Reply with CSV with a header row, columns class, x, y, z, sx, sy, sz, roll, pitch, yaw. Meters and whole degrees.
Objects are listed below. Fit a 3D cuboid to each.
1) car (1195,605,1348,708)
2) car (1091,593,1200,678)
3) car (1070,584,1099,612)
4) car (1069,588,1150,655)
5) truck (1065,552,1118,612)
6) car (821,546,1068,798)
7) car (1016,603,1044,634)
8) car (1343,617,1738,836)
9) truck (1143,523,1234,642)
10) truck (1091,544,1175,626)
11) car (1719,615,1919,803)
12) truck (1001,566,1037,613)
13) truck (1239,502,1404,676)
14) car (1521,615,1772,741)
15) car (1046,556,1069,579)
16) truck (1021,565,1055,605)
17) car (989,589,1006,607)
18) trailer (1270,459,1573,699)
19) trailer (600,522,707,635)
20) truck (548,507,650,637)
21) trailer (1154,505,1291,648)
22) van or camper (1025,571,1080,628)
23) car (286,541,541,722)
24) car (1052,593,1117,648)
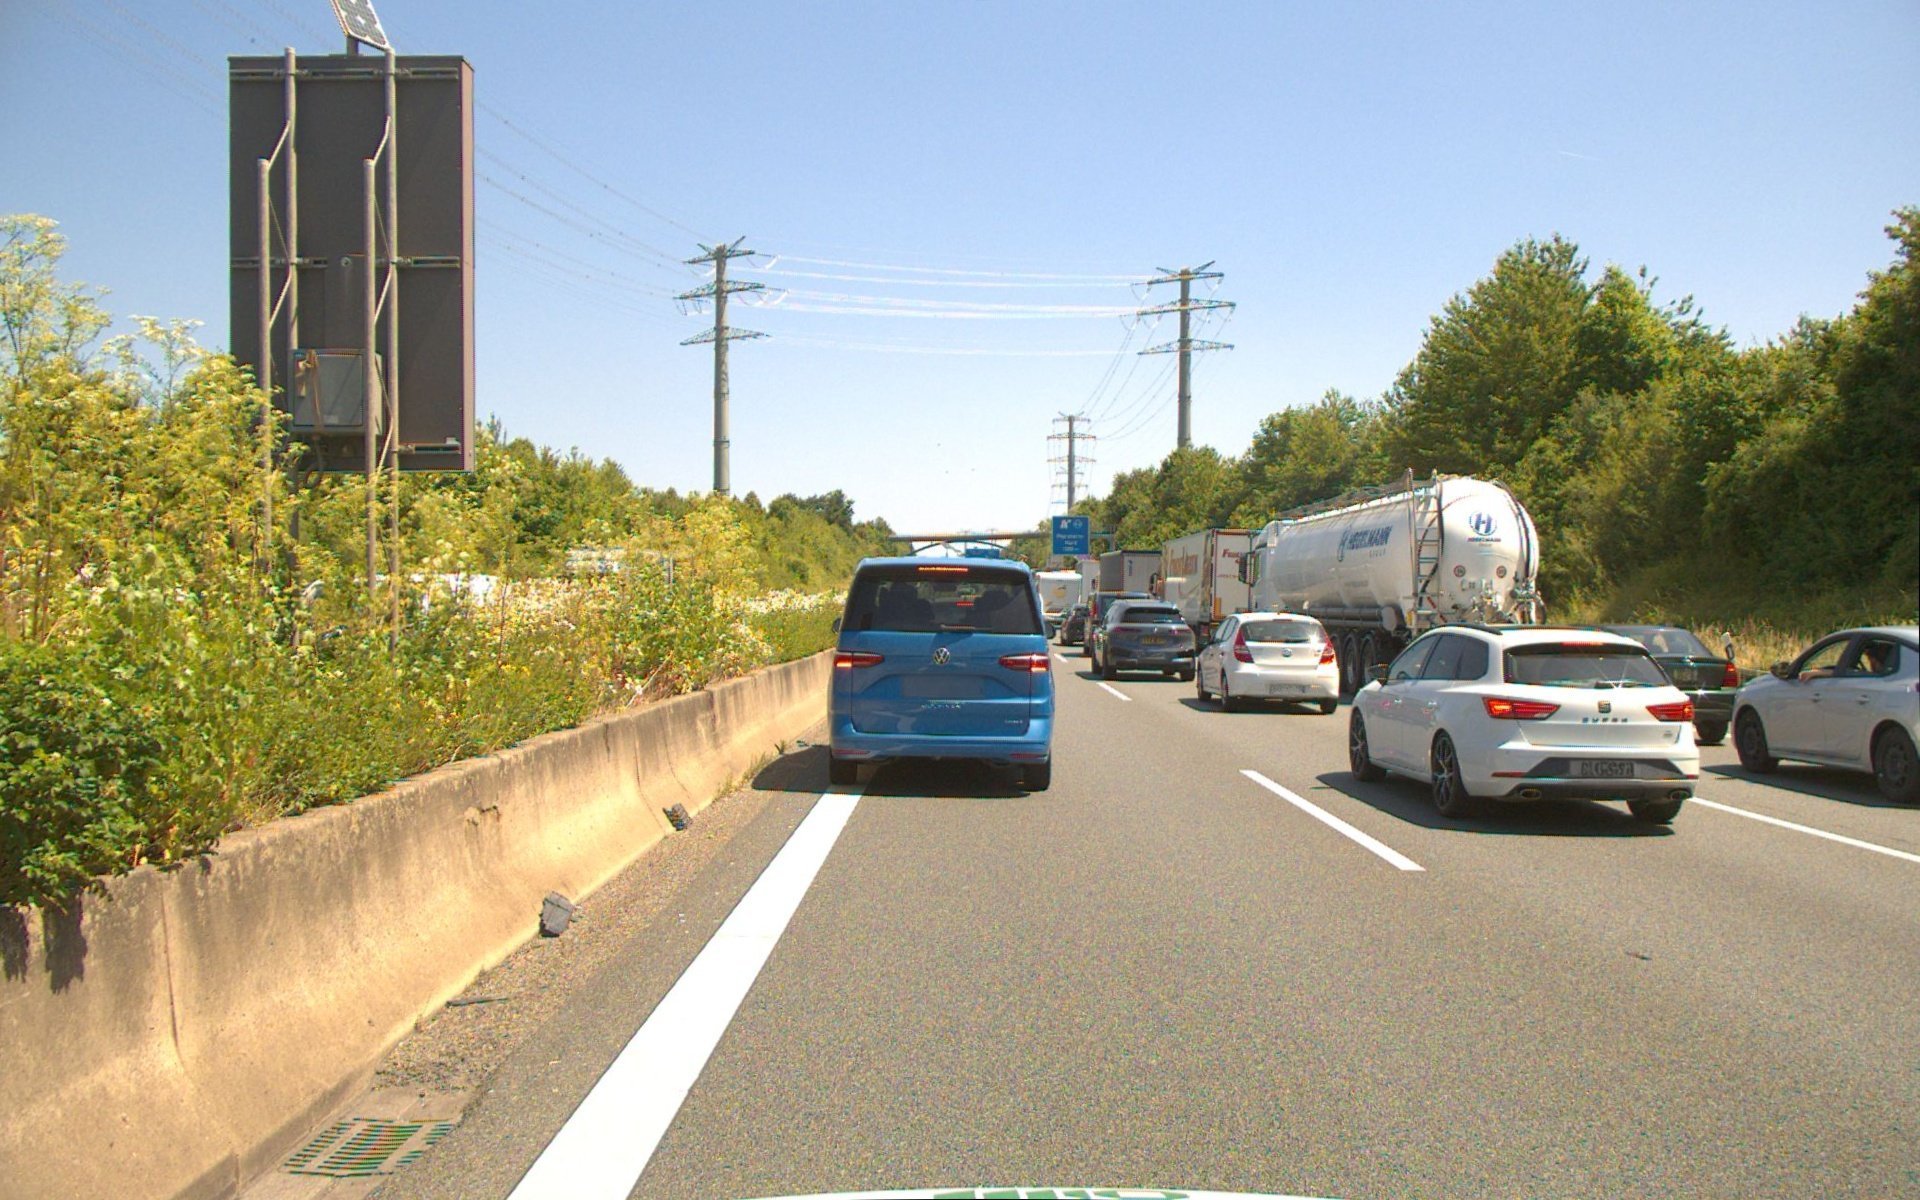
class,x,y,z,sx,sy,sz,roll,pitch,yaw
car,4.877,0.874,26.385,1.779,1.511,4.000,0,-1,1
car,4.031,0.782,36.614,1.958,1.745,4.625,0,-1,1
car,9.484,-0.124,125.935,1.952,2.049,4.000,0,-1,0
car,4.588,0.671,51.294,1.885,1.959,4.233,-1,-1,-3
truck,8.980,-1.116,114.377,2.835,3.832,13.345,0,-1,1
car,-0.110,0.561,14.871,1.881,1.919,4.000,1,0,0
car,4.740,1.298,112.729,1.798,2.033,4.000,-1,-1,2
car,4.426,0.896,13.353,1.711,1.468,4.313,0,-1,1
truck,9.053,-0.663,66.065,2.853,4.547,5.142,0,-1,0
truck,8.710,-0.609,85.252,2.944,3.832,15.713,0,-1,1
car,8.601,0.899,14.869,1.695,1.468,4.028,0,0,0
truck,4.984,-0.867,141.497,2.835,3.832,10.140,0,-1,1
truck,8.595,-0.236,39.989,2.736,3.904,5.571,0,0,0
car,8.724,0.951,21.394,1.607,1.441,3.989,-1,-1,1
car,9.096,-2.999,154.800,1.952,2.049,4.000,0,-1,0
truck,9.316,-1.689,198.083,3.493,4.596,10.291,0,-1,0
car,4.672,-0.259,205.675,1.953,2.163,3.999,0,-1,0
trailer,8.597,-0.307,32.711,2.705,3.912,11.484,0,0,0
trailer,-14.586,-0.922,79.601,3.254,5.136,9.590,0,-1,1
truck,-14.685,-1.088,67.603,3.235,5.139,4.032,0,0,0
trailer,9.087,-0.726,58.904,2.852,4.547,12.152,0,0,0
van or camper,5.120,0.002,92.546,2.896,3.075,7.103,0,-1,2
car,-7.209,0.402,22.352,1.953,2.184,4.599,1,-1,-1
car,4.612,0.794,61.944,1.885,1.959,4.233,-1,-1,-3
